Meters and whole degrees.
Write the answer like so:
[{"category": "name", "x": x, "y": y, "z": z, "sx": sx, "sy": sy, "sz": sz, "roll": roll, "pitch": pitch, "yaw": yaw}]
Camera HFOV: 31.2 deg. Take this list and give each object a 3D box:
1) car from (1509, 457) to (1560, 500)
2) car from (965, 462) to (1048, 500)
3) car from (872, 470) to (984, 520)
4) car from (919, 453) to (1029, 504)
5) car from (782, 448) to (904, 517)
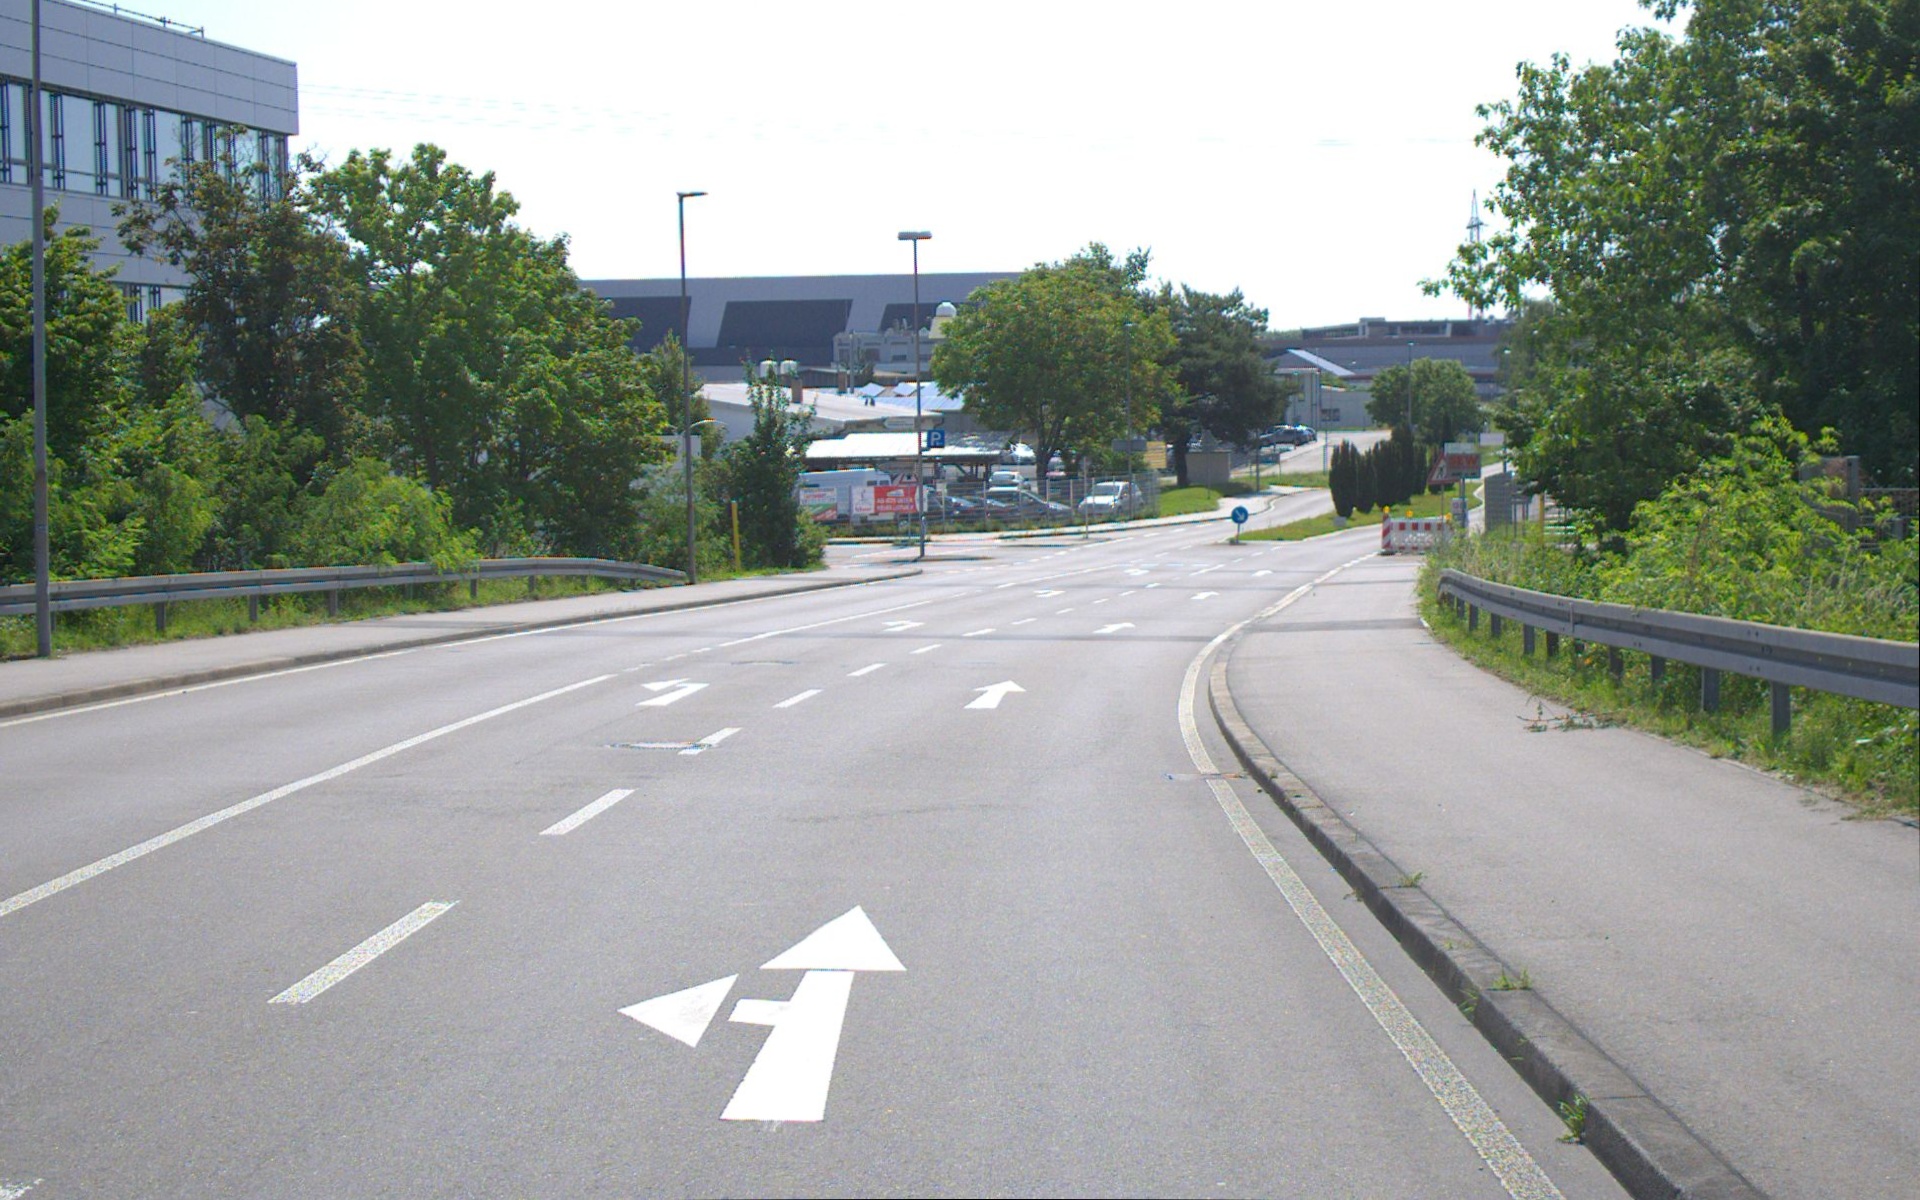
[{"category": "car", "x": 28.255, "y": -5.981, "z": 169.013, "sx": 2.273, "sy": 1.940, "sz": 4.663, "roll": 3, "pitch": 3, "yaw": 11}, {"category": "car", "x": 2.292, "y": -5.859, "z": 168.986, "sx": 3.986, "sy": 1.843, "sz": 1.835, "roll": 0, "pitch": 3, "yaw": -2}, {"category": "car", "x": -1.244, "y": -4.100, "z": 133.757, "sx": 3.996, "sy": 1.774, "sz": 1.996, "roll": 3, "pitch": 5, "yaw": 37}, {"category": "car", "x": 0.550, "y": -4.865, "z": 137.158, "sx": 3.995, "sy": 1.897, "sz": 1.996, "roll": 3, "pitch": 5, "yaw": 36}, {"category": "car", "x": -4.469, "y": -4.494, "z": 131.228, "sx": 4.361, "sy": 2.599, "sz": 1.996, "roll": 2, "pitch": 3, "yaw": 37}]
